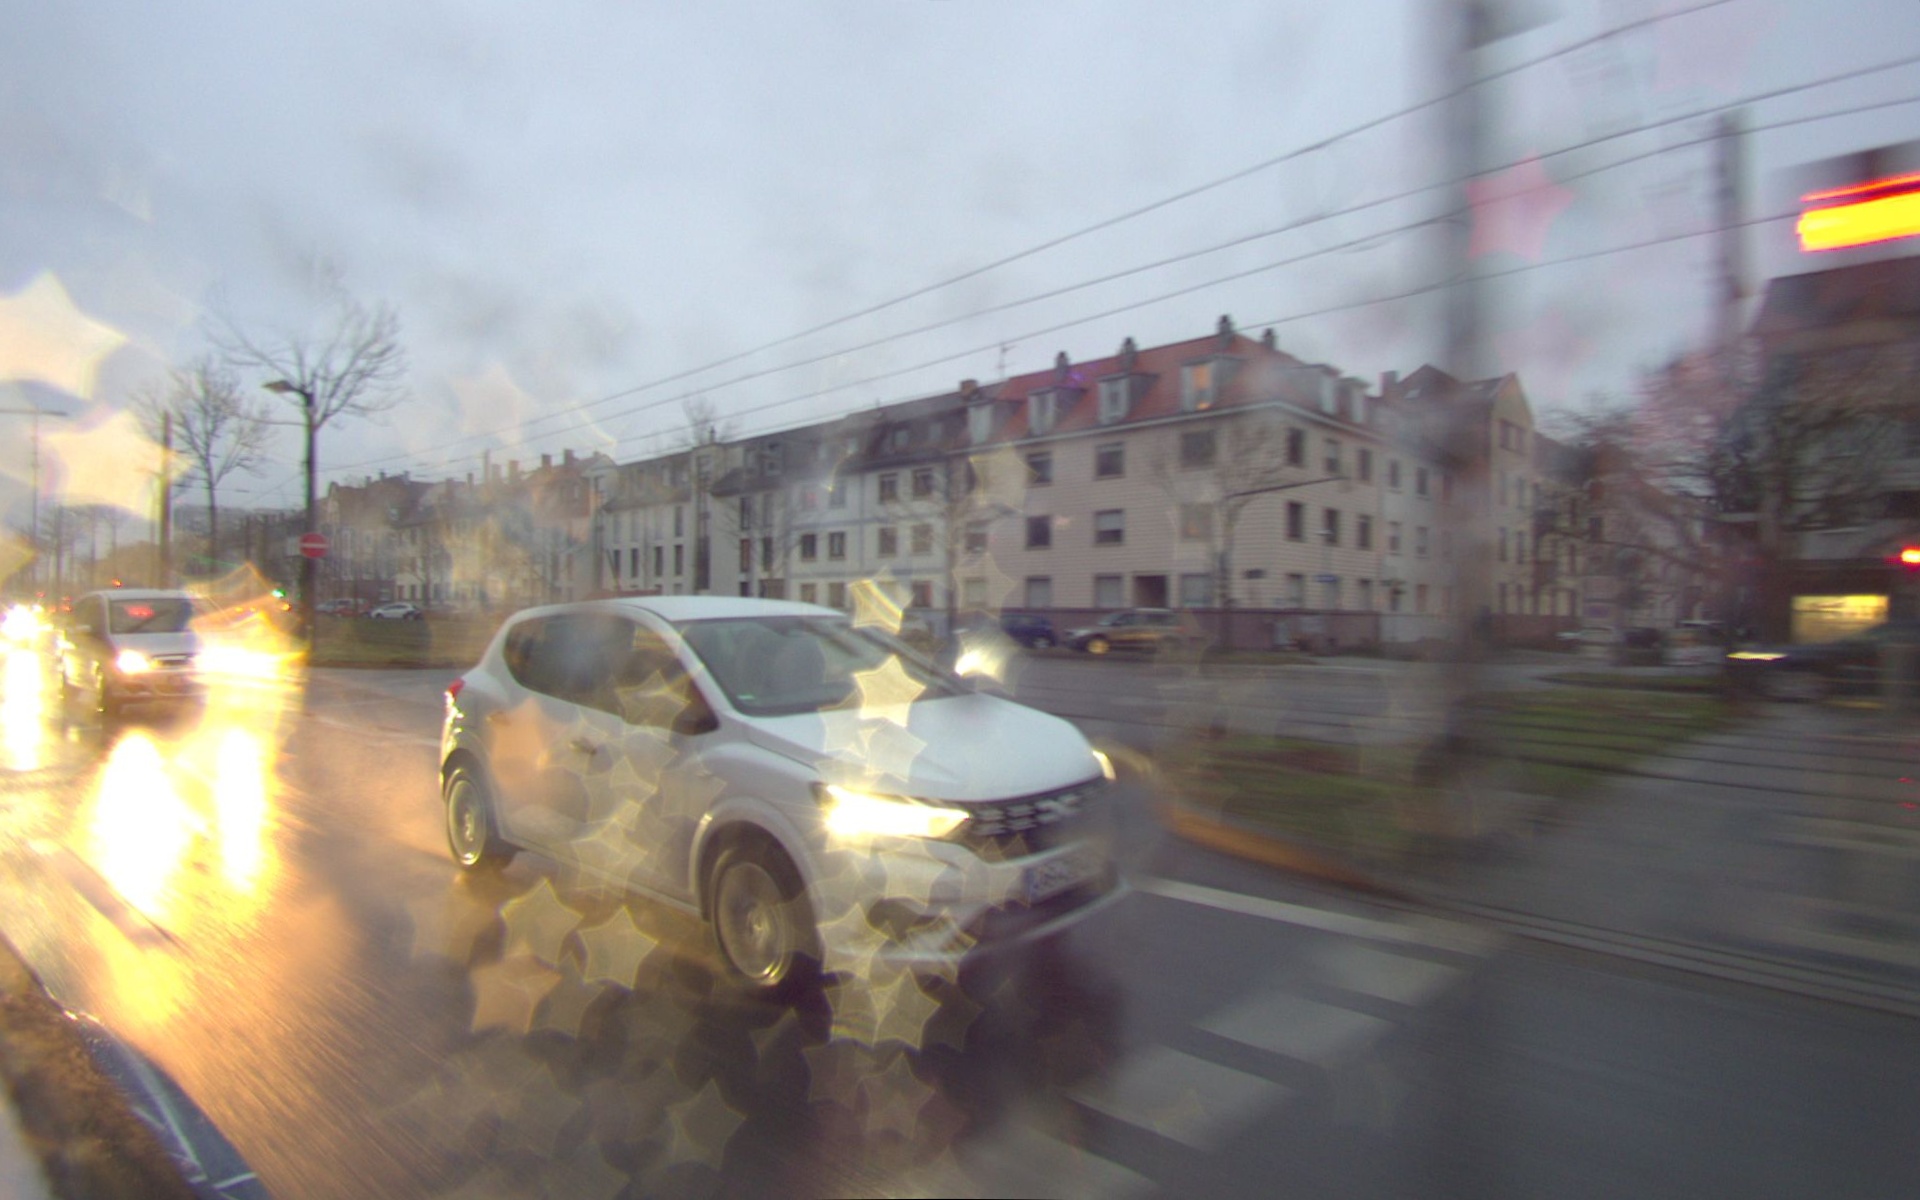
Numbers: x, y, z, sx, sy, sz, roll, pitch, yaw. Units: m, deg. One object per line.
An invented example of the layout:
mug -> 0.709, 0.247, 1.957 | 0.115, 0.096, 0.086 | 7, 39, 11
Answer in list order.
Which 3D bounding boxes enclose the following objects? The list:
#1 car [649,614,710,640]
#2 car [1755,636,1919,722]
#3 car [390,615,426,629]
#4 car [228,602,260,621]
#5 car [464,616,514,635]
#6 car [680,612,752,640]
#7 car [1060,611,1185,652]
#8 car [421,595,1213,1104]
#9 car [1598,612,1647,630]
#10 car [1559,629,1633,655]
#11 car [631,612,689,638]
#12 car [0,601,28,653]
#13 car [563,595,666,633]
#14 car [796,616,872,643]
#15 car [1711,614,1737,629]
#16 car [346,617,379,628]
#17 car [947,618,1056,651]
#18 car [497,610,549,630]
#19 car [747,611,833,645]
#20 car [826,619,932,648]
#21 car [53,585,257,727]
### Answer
car -> -15.167, 1.458, 54.839 | 3.153, 1.395, 1.317 | 0, -1, -15
car -> 17.169, 1.452, 18.524 | 4.001, 1.378, 1.499 | 1, 1, 43
car -> -48.841, 1.950, 89.531 | 2.590, 1.114, 1.256 | -1, 1, -44
car -> -76.792, 1.212, 108.501 | 3.999, 2.029, 1.972 | 1, 1, 42
car -> -34.983, 1.865, 75.216 | 3.152, 1.326, 1.555 | 0, 1, -14
car -> -12.646, 1.339, 52.441 | 3.548, 1.395, 1.317 | 0, -1, -15
car -> 5.509, 1.048, 34.384 | 3.933, 1.265, 1.448 | 0, 1, -12
car -> -0.974, 0.731, 4.970 | 3.999, 1.477, 1.690 | 1, 1, 42
car -> 57.726, 1.835, 88.183 | 3.411, 1.448, 1.411 | 1, 1, 39
car -> 38.782, 2.549, 61.762 | 3.517, 1.448, 1.550 | 0, 1, 16
car -> -16.899, 1.406, 57.030 | 3.058, 1.395, 1.316 | 0, -1, -12
car -> -29.713, 0.805, 30.616 | 4.092, 1.512, 1.949 | -1, 0, 43
car -> -21.059, 0.850, 61.951 | 5.811, 2.271, 1.826 | 0, 1, -13
car -> -5.686, 1.326, 45.514 | 3.260, 1.140, 1.316 | 1, -1, -12
car -> 97.227, 2.694, 128.744 | 3.940, 1.795, 2.002 | -1, 1, -44
car -> -57.969, 2.176, 98.278 | 2.528, 0.994, 1.259 | 0, 1, -16
car -> 1.564, 1.302, 38.703 | 3.935, 1.140, 1.365 | 0, 1, -10
car -> -30.672, 1.429, 71.102 | 3.151, 1.326, 1.556 | 0, 1, -16
car -> -7.998, 1.299, 47.624 | 3.947, 1.516, 1.316 | 0, 1, -11
car -> -3.461, 1.428, 43.151 | 4.333, 1.140, 1.251 | 1, 1, -12
car -> -11.430, 0.641, 14.270 | 1.992, 1.689, 4.005 | -1, 1, -42
